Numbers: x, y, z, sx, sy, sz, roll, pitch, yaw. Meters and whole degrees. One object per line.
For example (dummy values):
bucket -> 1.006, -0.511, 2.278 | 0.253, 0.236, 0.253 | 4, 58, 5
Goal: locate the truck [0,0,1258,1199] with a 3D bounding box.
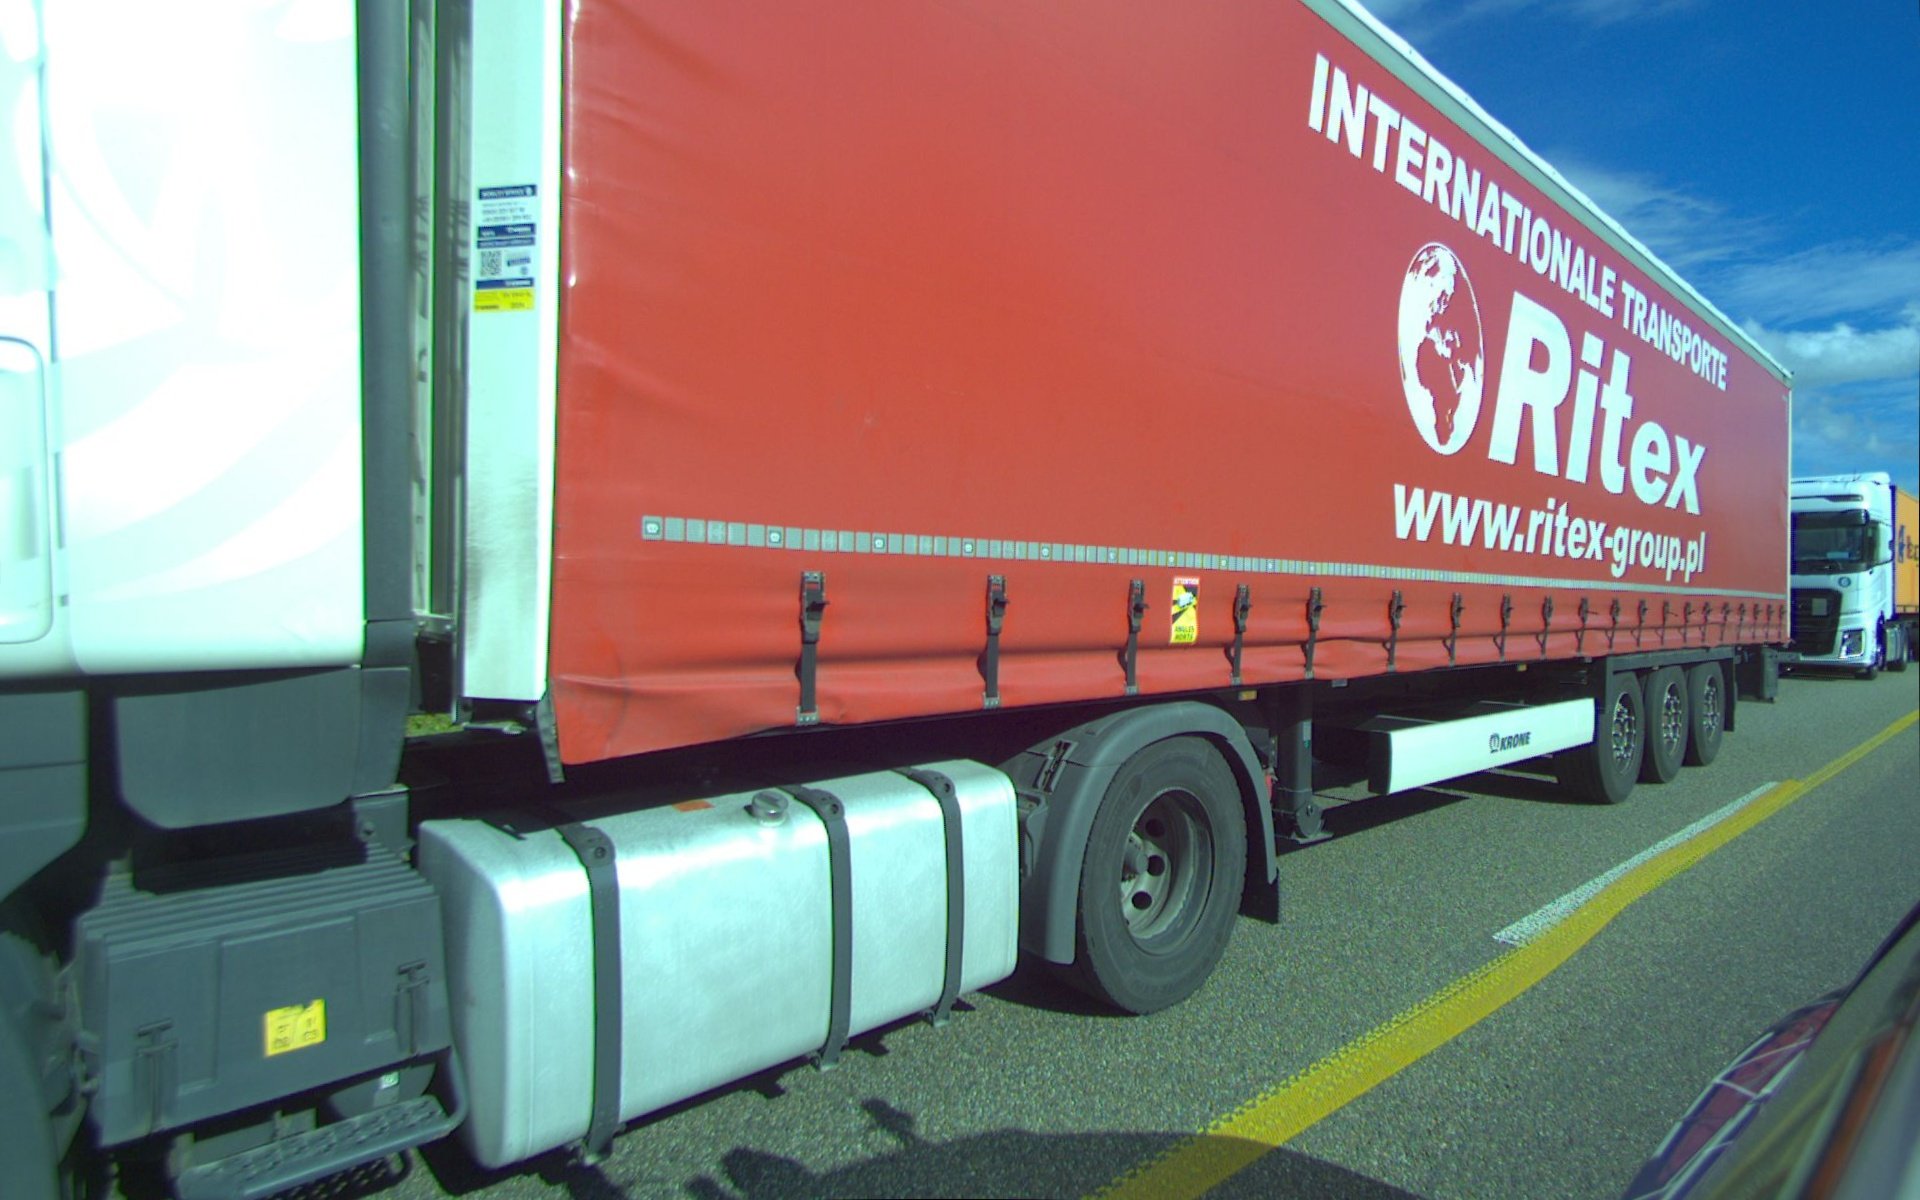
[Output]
truck -> -1.838, -0.715, 2.936 | 5.612, 4.010, 2.671 | 0, 0, -42

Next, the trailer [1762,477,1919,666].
trailer -> 23.048, -0.607, 25.304 | 11.922, 3.822, 2.476 | 0, 0, -41

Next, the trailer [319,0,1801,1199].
trailer -> 3.222, -0.723, 7.456 | 13.186, 4.019, 2.703 | 0, 0, -42

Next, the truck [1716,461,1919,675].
truck -> 17.909, -0.599, 20.895 | 5.687, 3.828, 2.499 | 0, 0, -40
